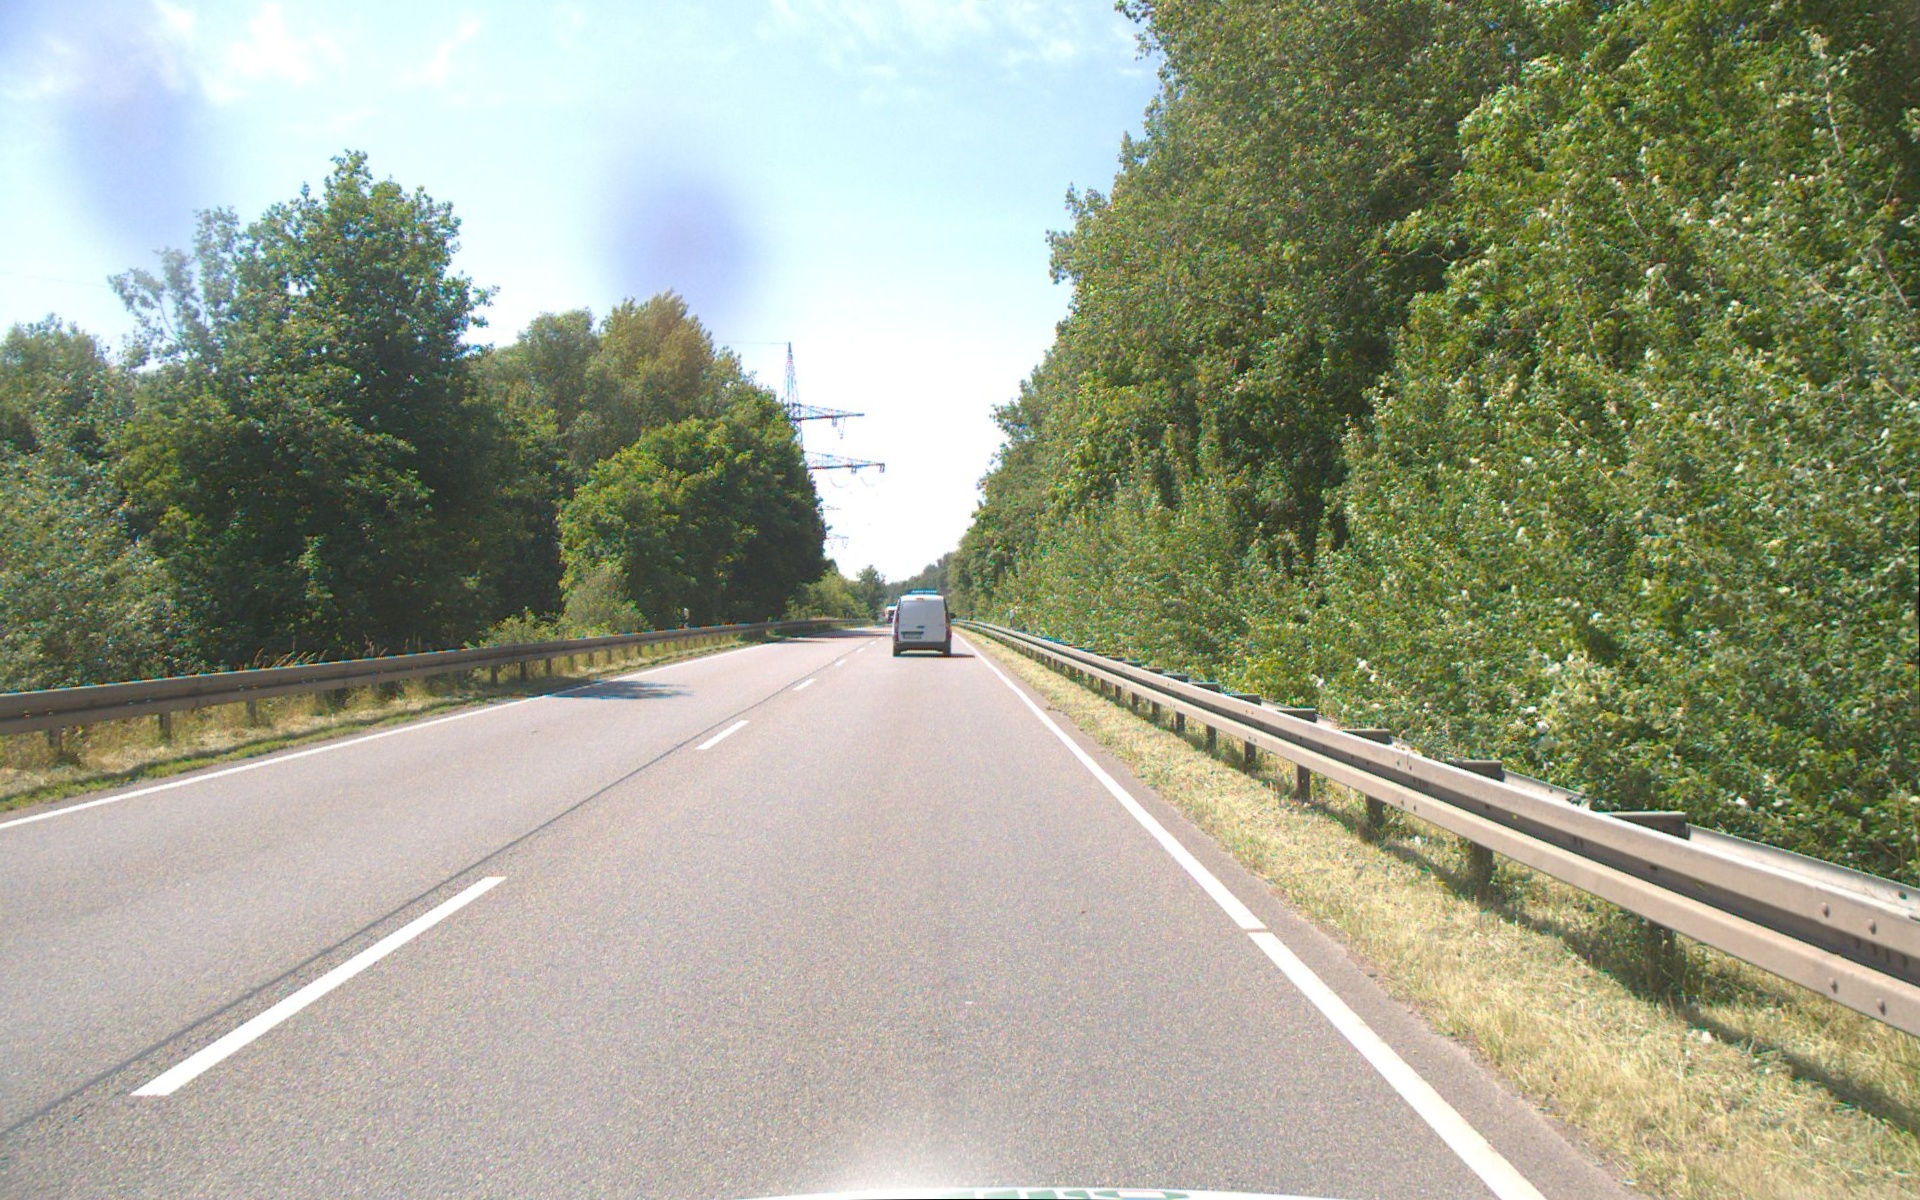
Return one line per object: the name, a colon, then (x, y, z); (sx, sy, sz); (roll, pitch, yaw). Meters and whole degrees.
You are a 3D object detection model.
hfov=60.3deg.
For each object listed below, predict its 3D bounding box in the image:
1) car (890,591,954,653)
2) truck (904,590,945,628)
car: (-1.147, 0.627, 49.584); (1.837, 1.772, 3.999); (1, 0, -1)
truck: (-3.065, 0.764, 148.038); (3.229, 3.227, 14.405); (1, 0, 1)
